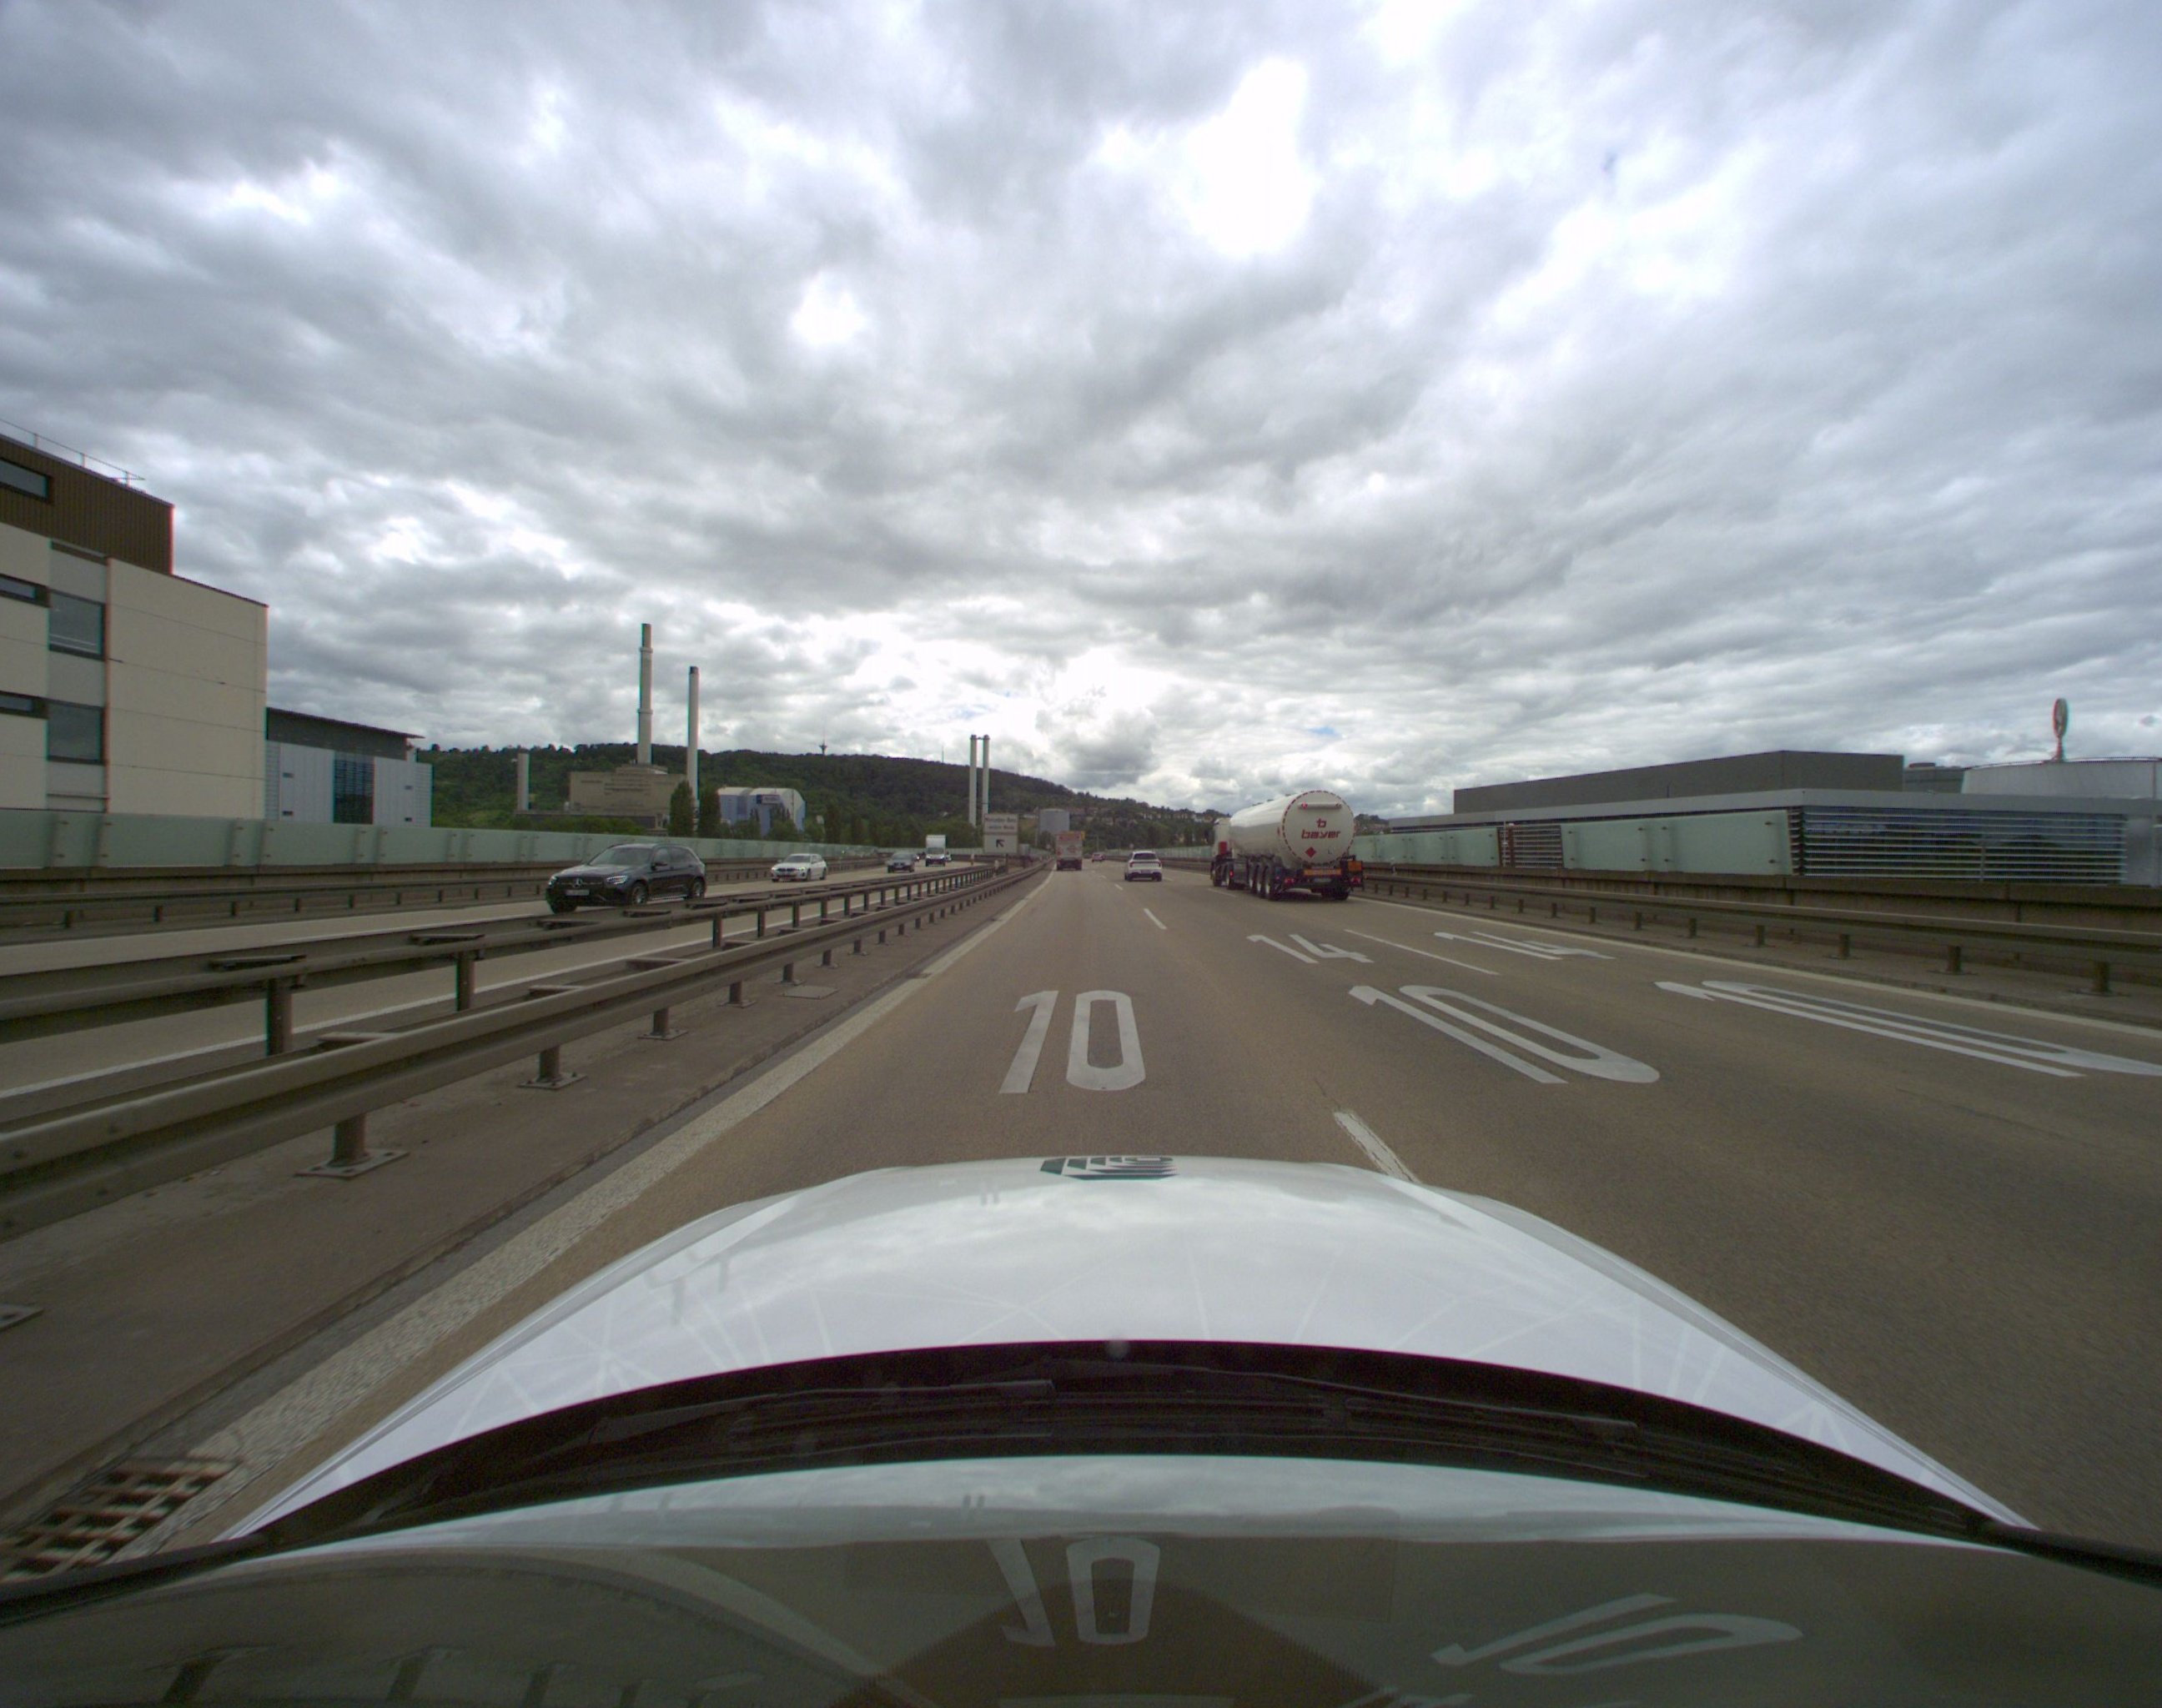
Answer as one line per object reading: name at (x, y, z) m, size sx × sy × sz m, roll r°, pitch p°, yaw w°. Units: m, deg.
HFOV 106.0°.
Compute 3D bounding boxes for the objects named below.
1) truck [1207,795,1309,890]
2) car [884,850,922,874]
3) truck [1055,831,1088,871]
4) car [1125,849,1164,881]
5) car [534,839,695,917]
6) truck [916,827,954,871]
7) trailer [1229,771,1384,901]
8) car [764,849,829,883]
truck at (7.394, -0.419, 34.969) m, size 3.005 × 3.657 × 6.272 m, roll -1°, pitch -1°, yaw 0°
car at (-13.278, 0.598, 60.991) m, size 1.989 × 1.675 × 4.403 m, roll -1°, pitch -1°, yaw -3°
truck at (-0.981, -0.268, 79.778) m, size 3.048 × 3.691 × 8.299 m, roll -1°, pitch -1°, yaw -1°
car at (3.505, 0.626, 45.666) m, size 1.986 × 1.675 × 4.410 m, roll -1°, pitch -1°, yaw 2°
car at (-11.191, 0.554, 19.952) m, size 1.993 × 1.675 × 4.393 m, roll 0°, pitch -1°, yaw -9°
truck at (-15.846, -0.501, 88.742) m, size 3.051 × 4.562 × 8.292 m, roll -1°, pitch -1°, yaw -4°
trailer at (7.351, -0.483, 28.006) m, size 3.047 × 3.790 × 8.303 m, roll -1°, pitch -1°, yaw 0°
car at (-14.753, 0.605, 42.478) m, size 1.989 × 1.675 × 4.403 m, roll -1°, pitch -1°, yaw -3°
